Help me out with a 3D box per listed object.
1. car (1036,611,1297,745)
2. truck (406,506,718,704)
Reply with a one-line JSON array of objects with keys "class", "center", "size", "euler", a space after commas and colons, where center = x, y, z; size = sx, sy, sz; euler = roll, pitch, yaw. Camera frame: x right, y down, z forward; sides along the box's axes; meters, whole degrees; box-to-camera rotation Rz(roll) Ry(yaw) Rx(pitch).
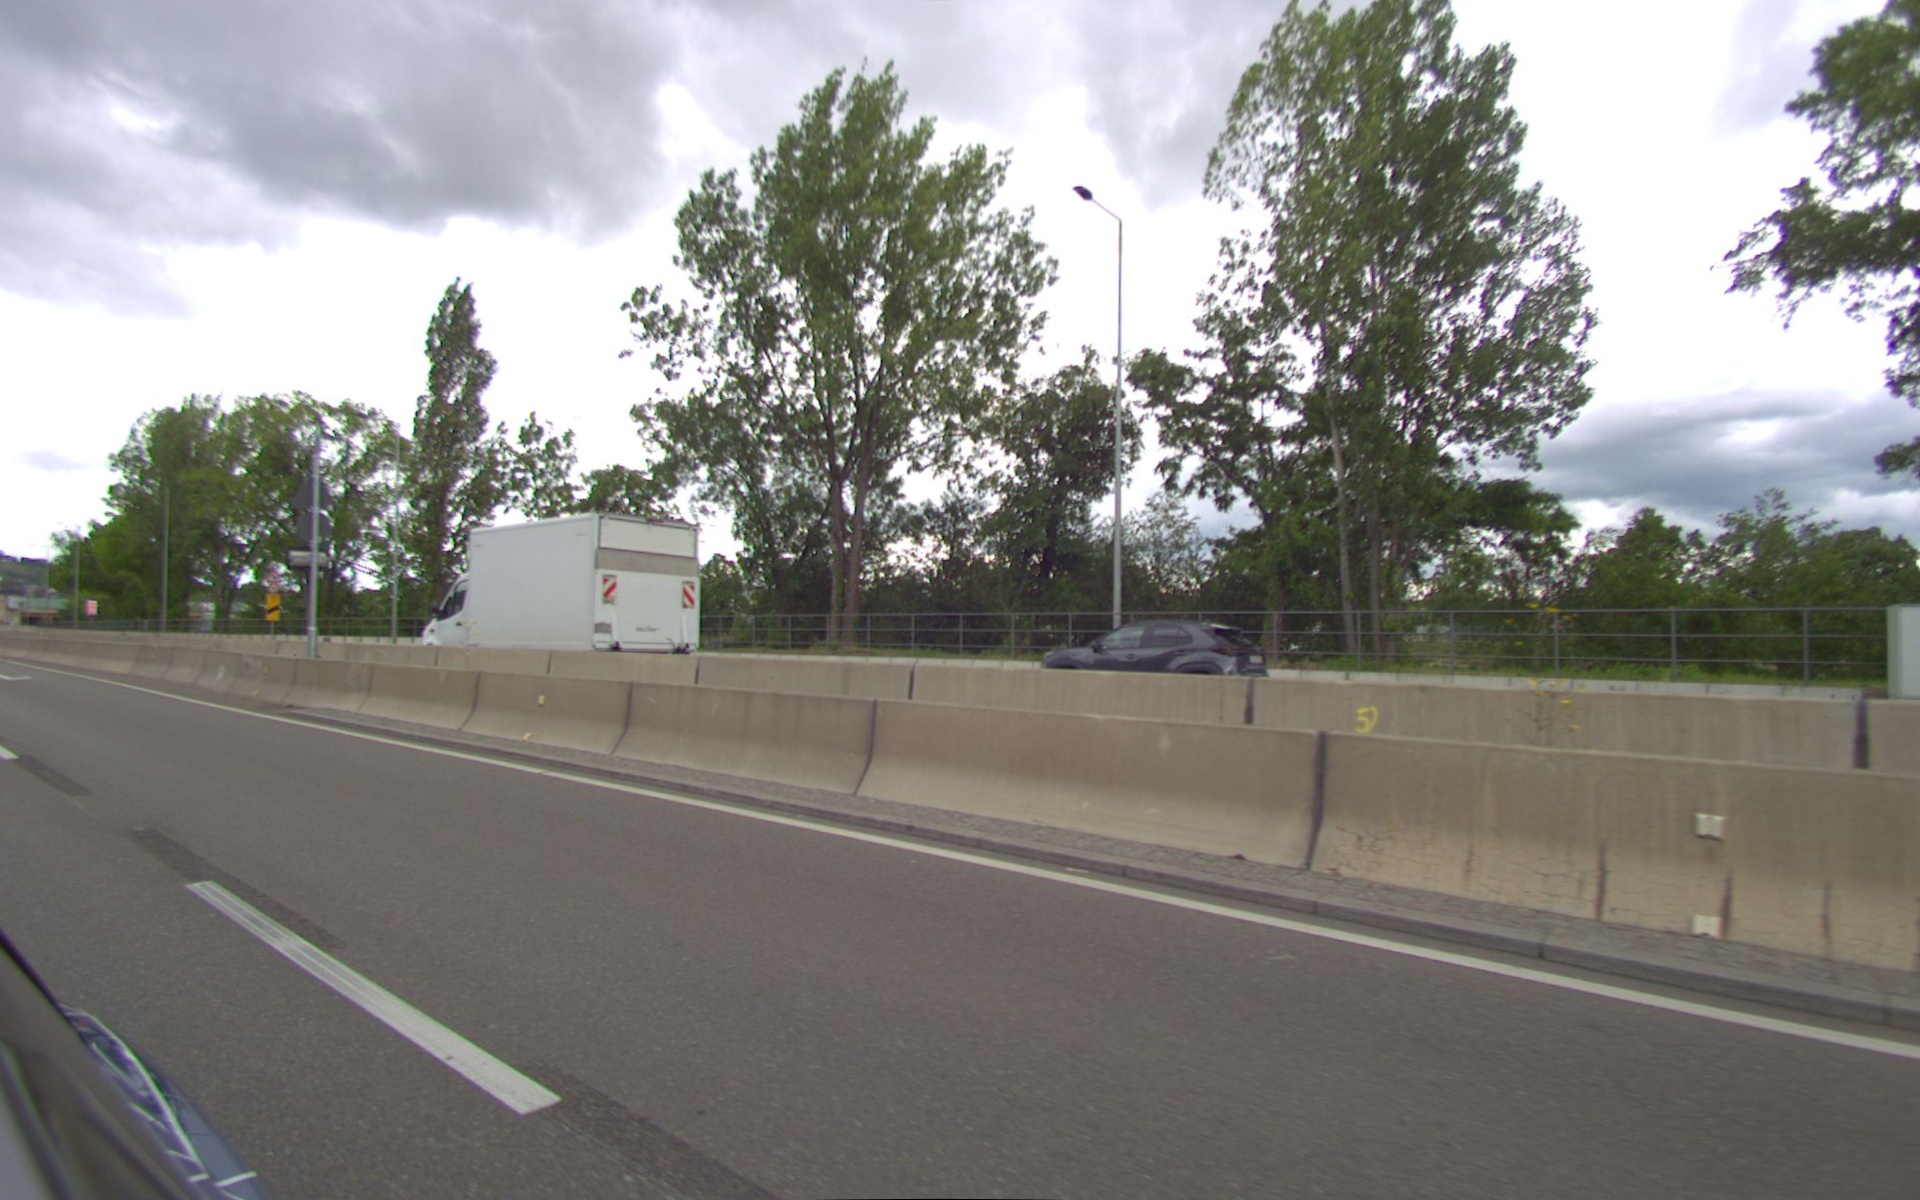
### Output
[{"class": "car", "center": [3.550, 1.266, 17.695], "size": [3.995, 2.029, 1.974], "euler": [-2, 0, 39]}, {"class": "truck", "center": [-7.789, 0.131, 19.246], "size": [7.196, 3.130, 2.379], "euler": [-2, 0, 40]}]
